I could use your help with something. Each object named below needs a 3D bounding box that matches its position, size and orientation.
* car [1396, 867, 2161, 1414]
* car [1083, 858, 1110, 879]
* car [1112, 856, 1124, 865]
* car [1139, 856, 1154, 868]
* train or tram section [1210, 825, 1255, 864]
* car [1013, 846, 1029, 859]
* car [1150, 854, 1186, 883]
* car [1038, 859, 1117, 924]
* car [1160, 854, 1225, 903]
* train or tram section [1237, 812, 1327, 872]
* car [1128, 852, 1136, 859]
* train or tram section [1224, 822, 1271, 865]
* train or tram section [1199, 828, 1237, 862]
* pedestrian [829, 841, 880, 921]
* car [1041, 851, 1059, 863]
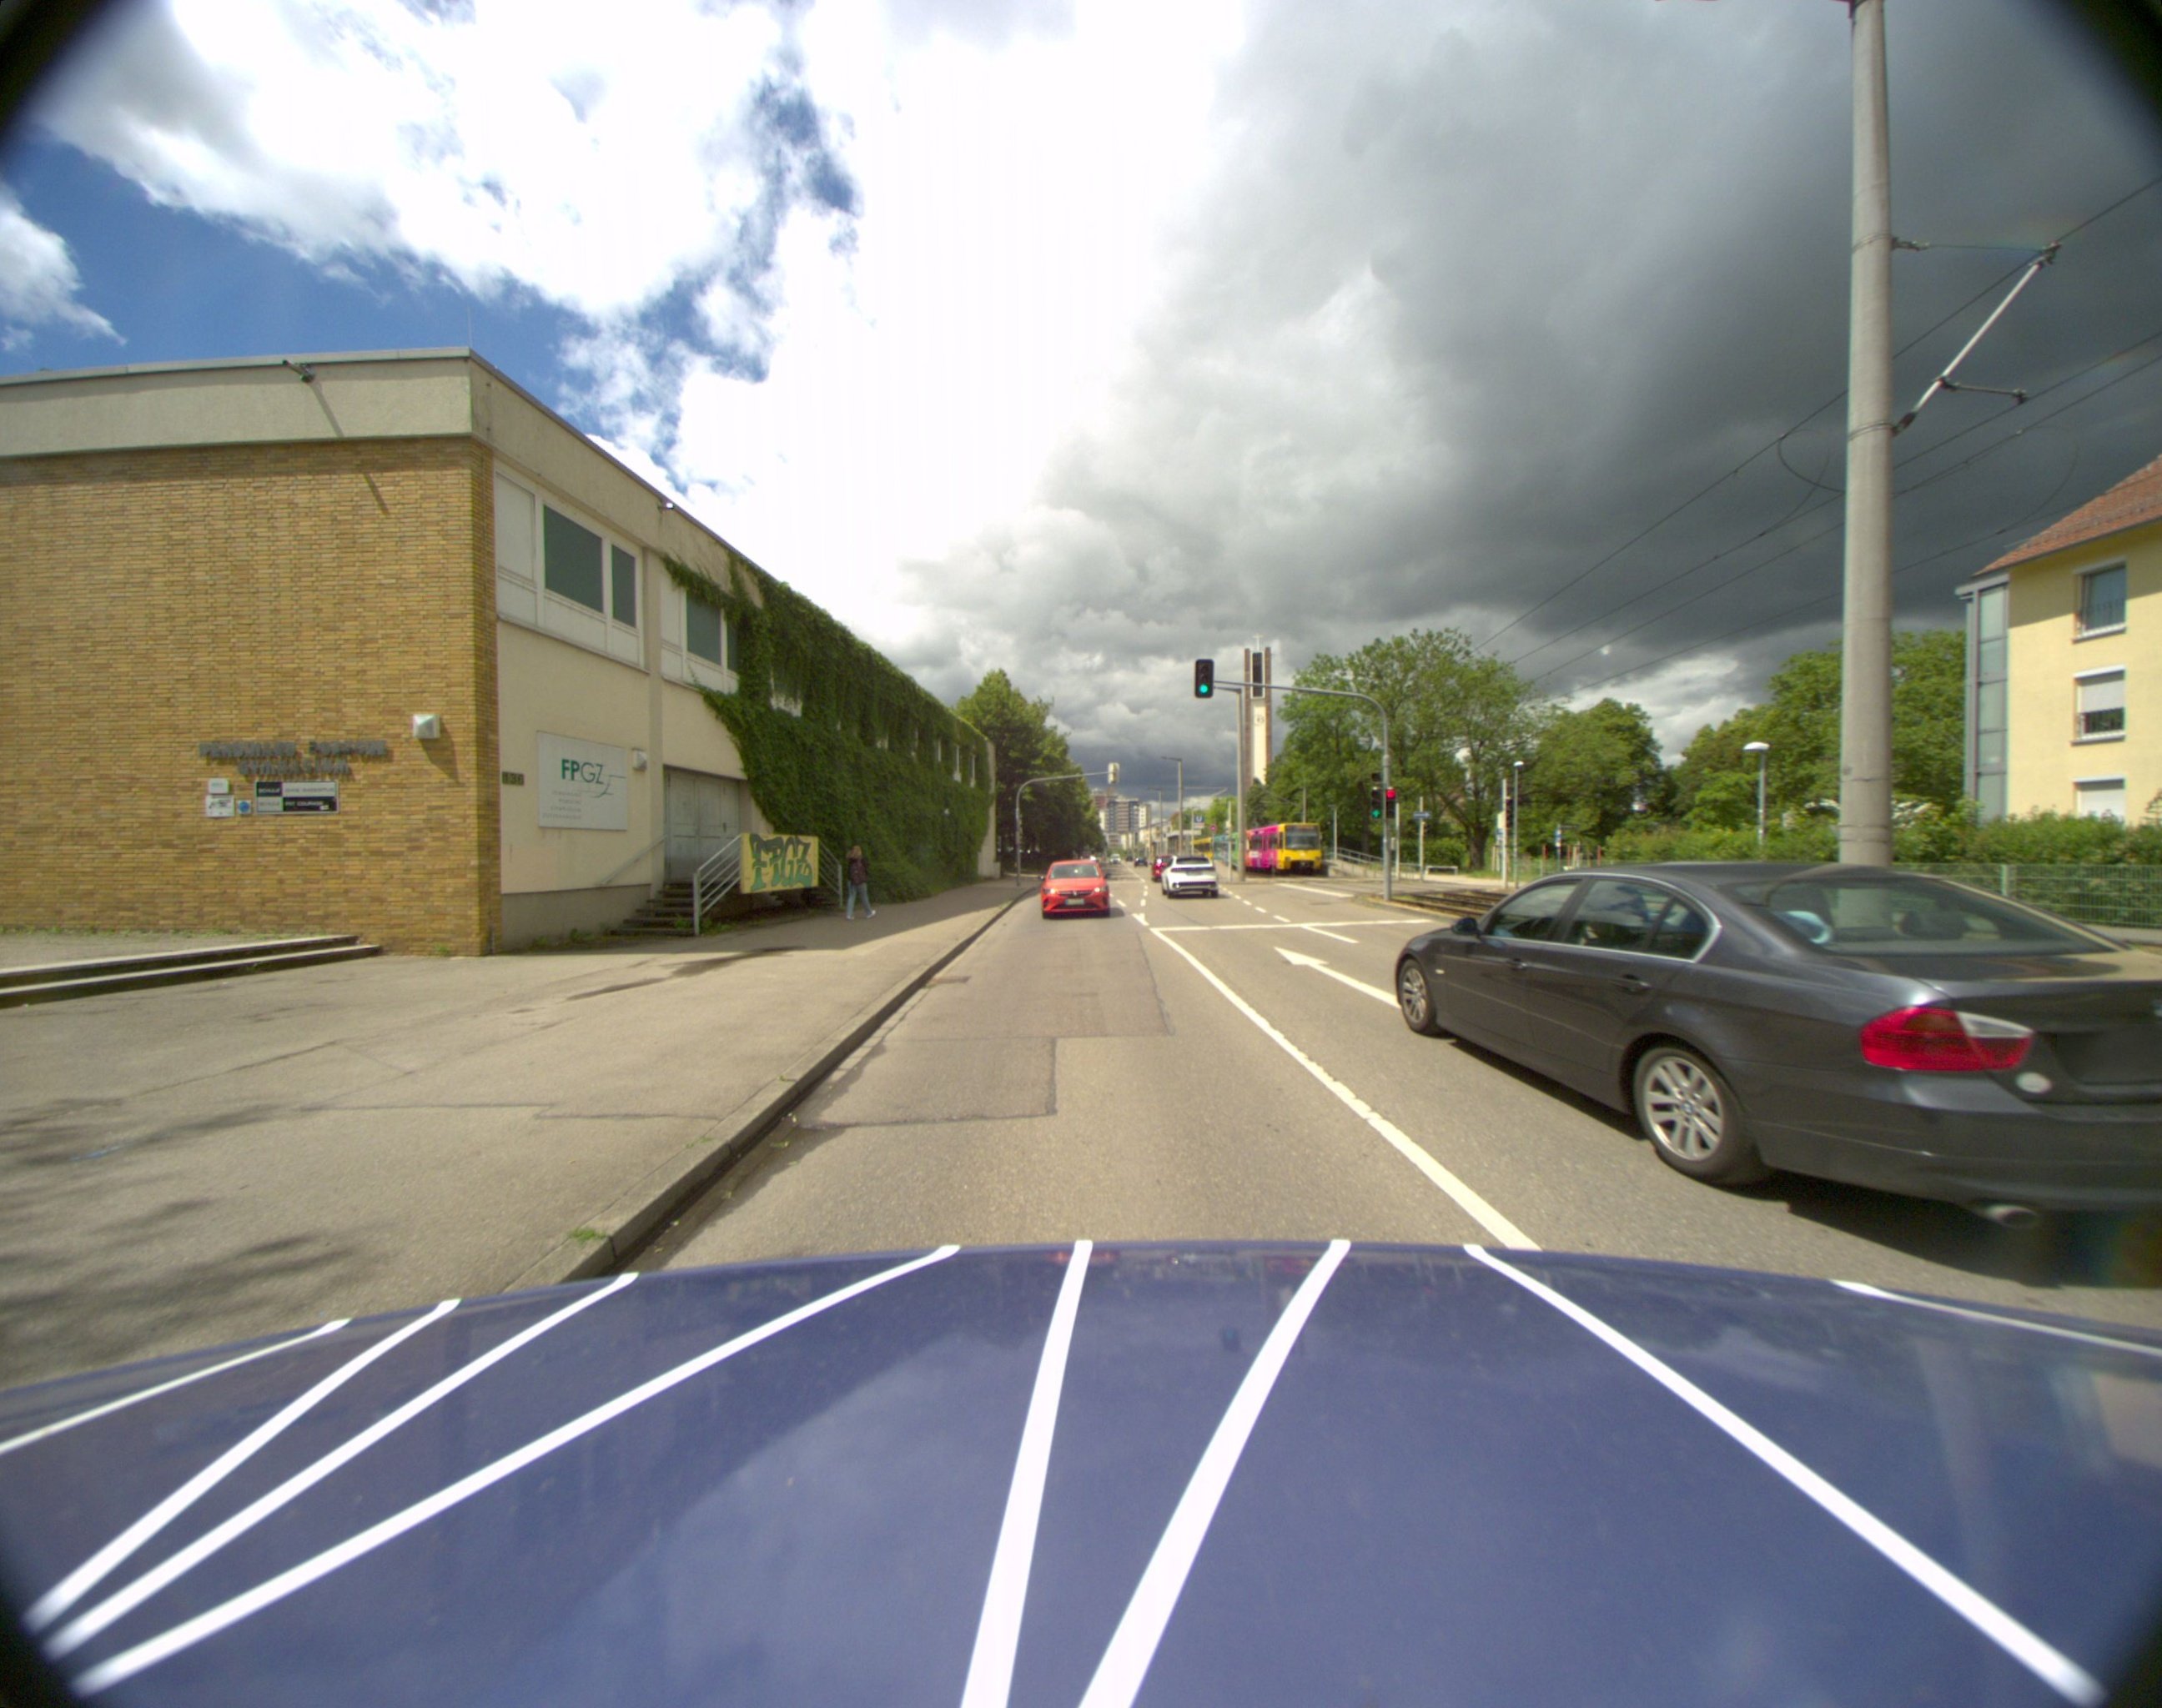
[{"bbox_3d":[3.426,0.853,4.235,1.632,1.424,4.167,-2,0,1],"label":"car"},{"bbox_3d":[1.232,1.047,57.434,1.755,1.433,4.227,-1,1,5],"label":"car"},{"bbox_3d":[6.298,1.066,130.193,1.821,1.433,4.008,-1,1,1],"label":"car"},{"bbox_3d":[8.277,0.977,96.603,1.722,1.433,4.009,-1,1,2],"label":"car"},{"bbox_3d":[16.390,-0.997,83.064,2.987,3.840,11.787,-2,0,3],"label":"train or tram section"},{"bbox_3d":[-7.465,-0.190,95.425,1.756,1.533,4.225,-1,1,-1],"label":"car"},{"bbox_3d":[4.961,0.793,43.794,1.667,1.543,4.000,-2,1,2],"label":"car"},{"bbox_3d":[0.010,0.924,20.441,1.755,1.433,4.227,-1,1,5],"label":"car"},{"bbox_3d":[3.913,0.814,27.277,1.764,1.543,4.000,-2,1,1],"label":"car"},{"bbox_3d":[15.183,-0.870,59.529,2.987,3.840,18.540,-2,0,3],"label":"train or tram section"},{"bbox_3d":[11.943,0.321,176.375,1.755,1.603,4.227,-1,1,5],"label":"car"},{"bbox_3d":[15.852,-0.995,72.998,2.987,3.840,8.379,-2,1,3],"label":"train or tram section"},{"bbox_3d":[16.953,-1.106,95.023,2.987,3.840,12.202,-2,0,3],"label":"train or tram section"},{"bbox_3d":[-5.179,0.605,17.432,0.810,1.761,0.817,2,2,9],"label":"pedestrian"},{"bbox_3d":[-4.127,0.339,101.981,1.655,1.533,3.678,-1,1,8],"label":"car"}]
